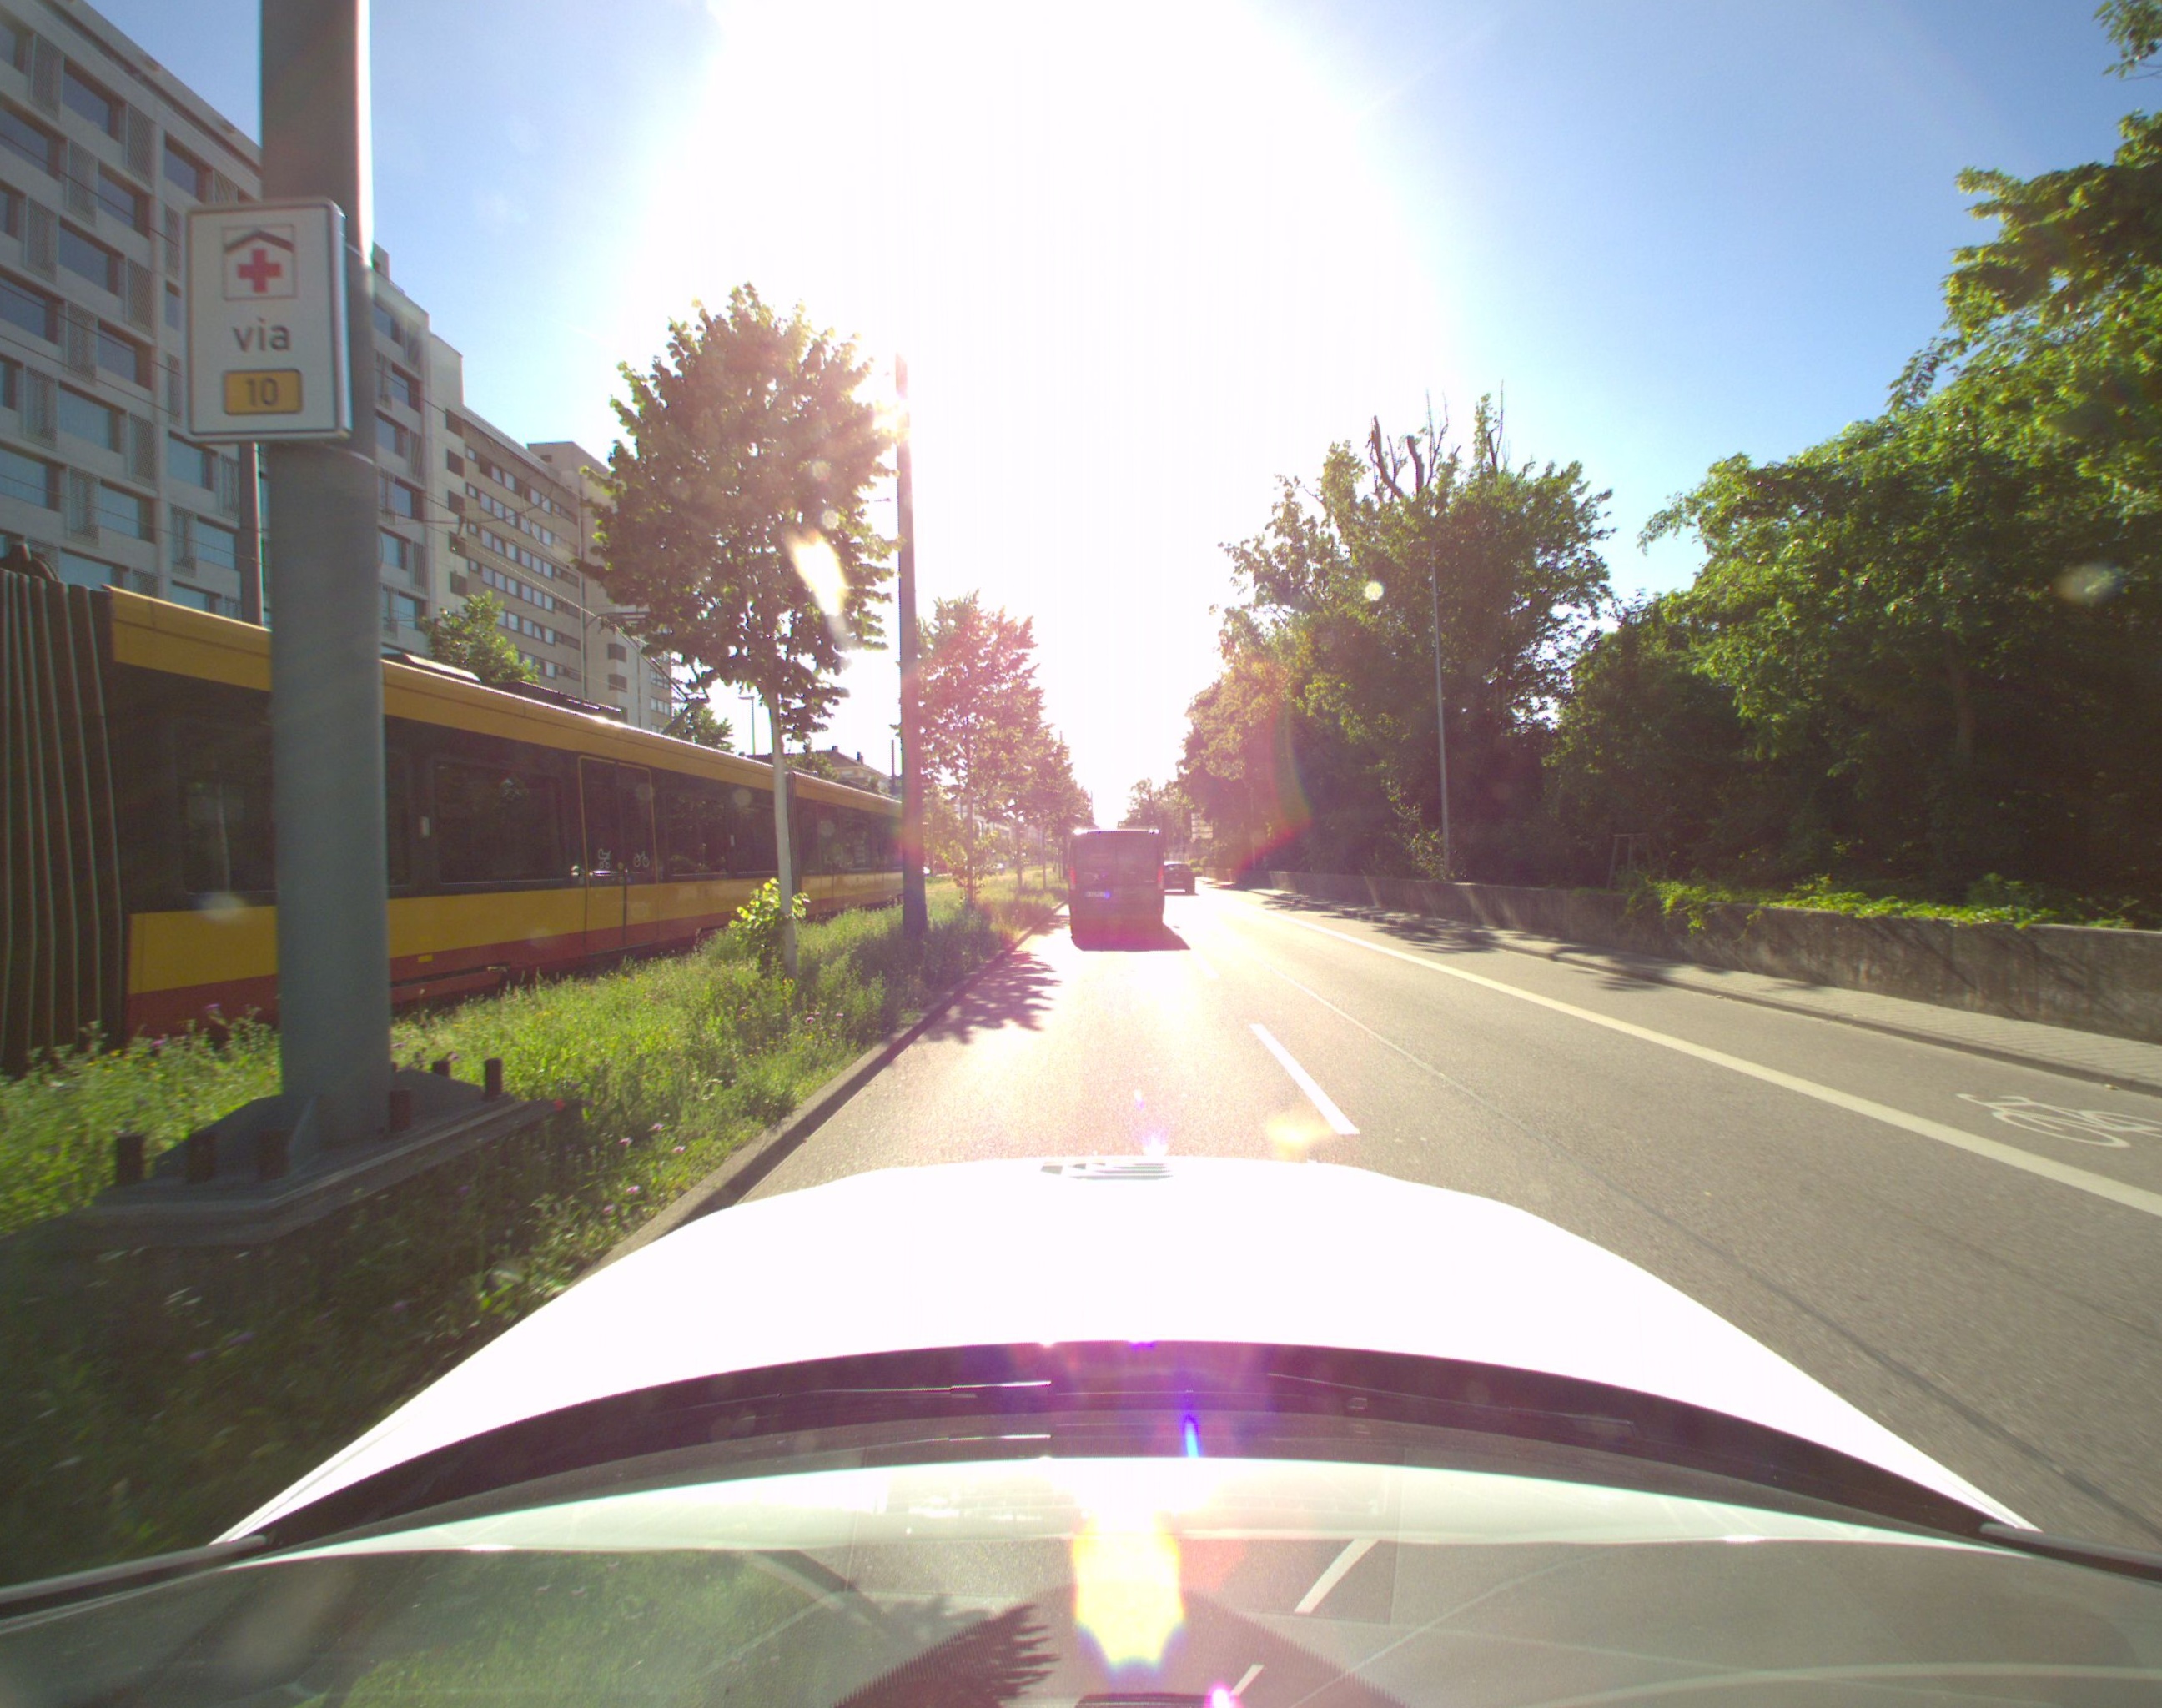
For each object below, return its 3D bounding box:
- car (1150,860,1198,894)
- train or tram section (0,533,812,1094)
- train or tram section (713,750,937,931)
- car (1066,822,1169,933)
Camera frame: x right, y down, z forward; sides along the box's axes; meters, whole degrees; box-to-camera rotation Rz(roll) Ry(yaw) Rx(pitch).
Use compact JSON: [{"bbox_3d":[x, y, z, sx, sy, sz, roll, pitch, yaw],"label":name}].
[{"bbox_3d":[4.223,1.021,37.617,1.757,1.462,3.999,-1,-1,0],"label":"car"},{"bbox_3d":[-6.735,-0.214,11.017,1.986,3.669,11.321,-1,-1,2],"label":"train or tram section"},{"bbox_3d":[-6.272,-0.230,22.498,1.985,3.669,11.690,-1,-1,3],"label":"train or tram section"},{"bbox_3d":[0.807,0.494,18.730,2.074,2.249,4.001,-1,-1,1],"label":"car"}]
